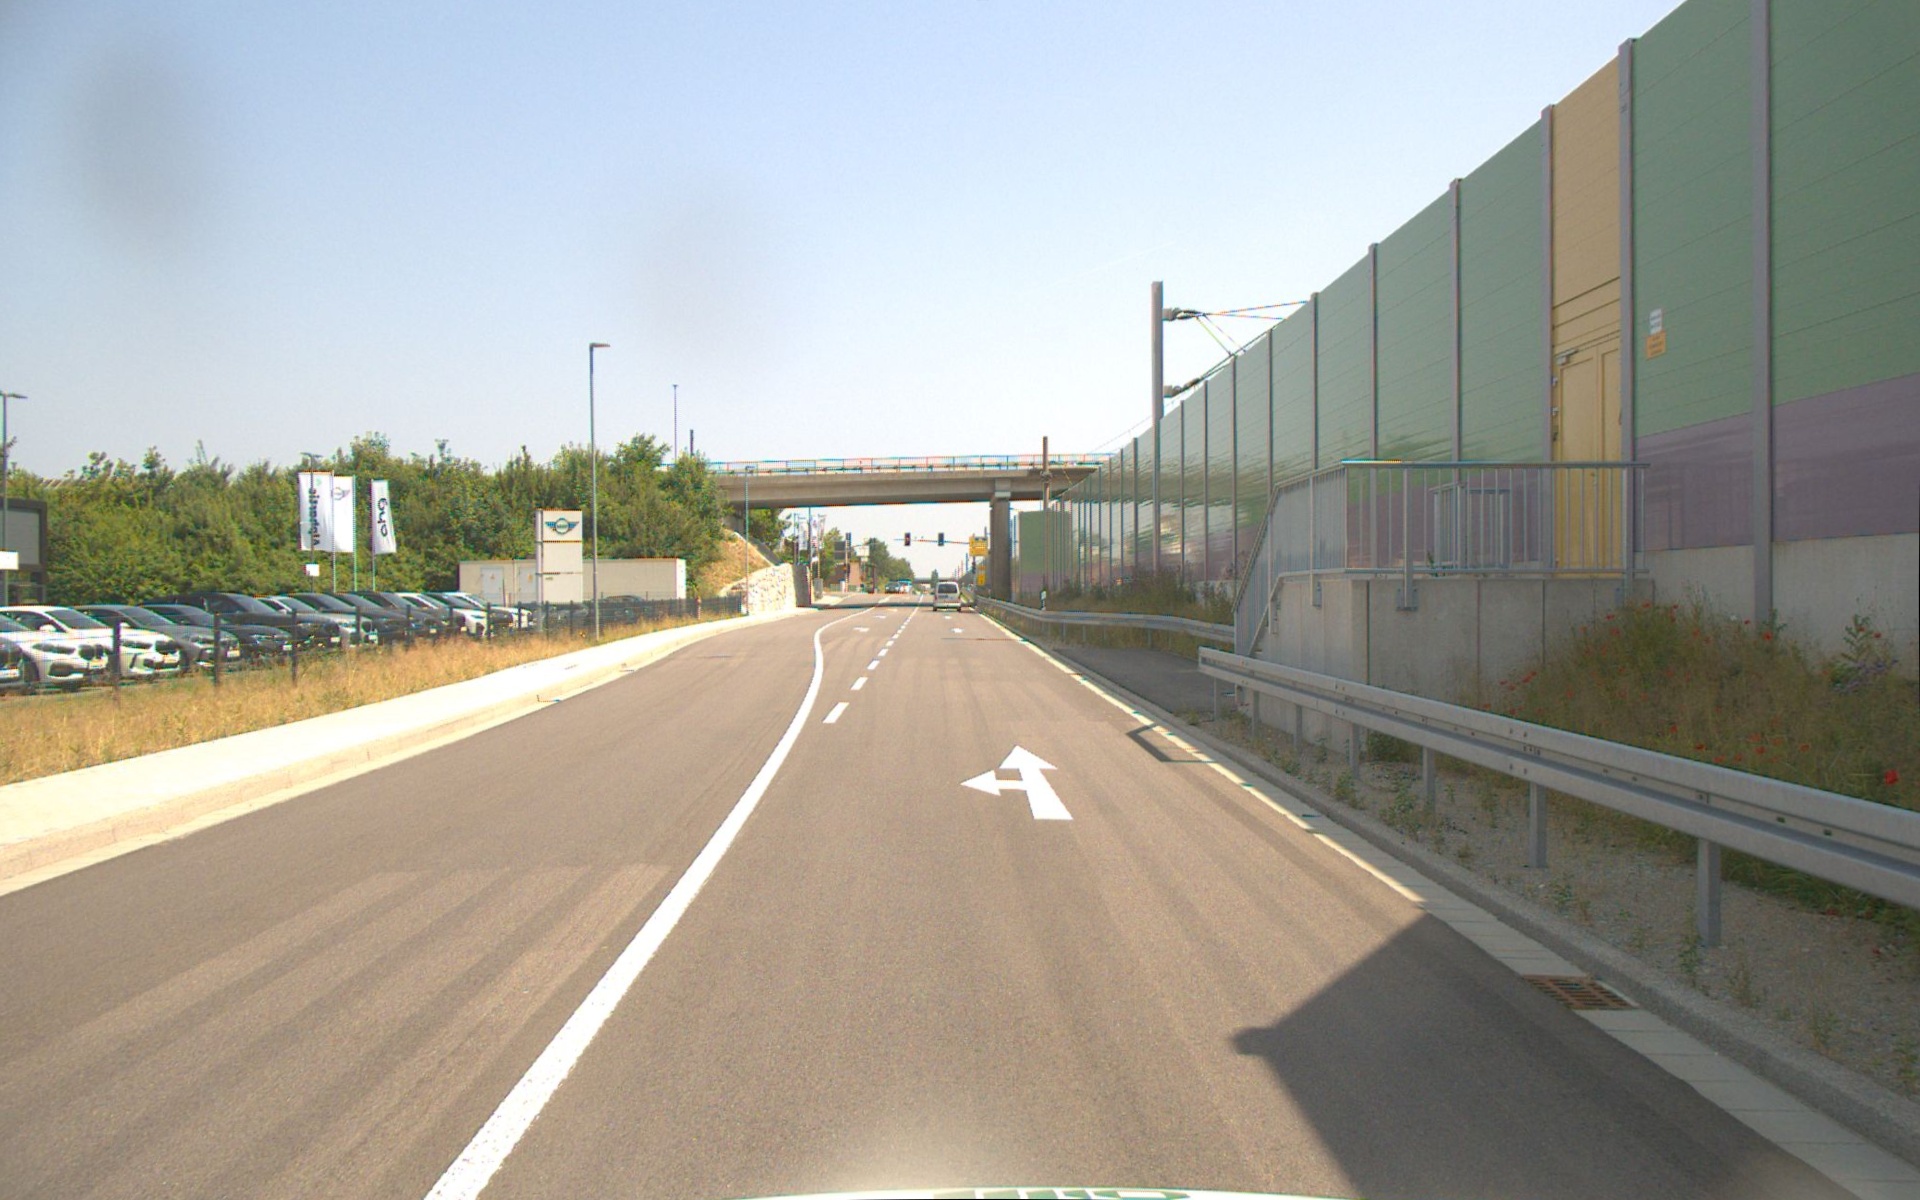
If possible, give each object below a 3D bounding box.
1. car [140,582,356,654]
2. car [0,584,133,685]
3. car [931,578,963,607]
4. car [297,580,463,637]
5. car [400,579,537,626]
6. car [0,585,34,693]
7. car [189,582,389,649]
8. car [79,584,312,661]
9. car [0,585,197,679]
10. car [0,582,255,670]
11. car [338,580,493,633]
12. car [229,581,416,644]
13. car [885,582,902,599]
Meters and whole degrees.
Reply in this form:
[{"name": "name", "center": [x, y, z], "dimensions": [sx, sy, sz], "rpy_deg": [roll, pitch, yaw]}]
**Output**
[{"name": "car", "center": [-16.196, 0.387, 37.762], "dimensions": [4.079, 1.492, 1.815], "rpy_deg": [-1, 1, -1]}, {"name": "car", "center": [-16.163, 0.574, 27.273], "dimensions": [4.079, 1.572, 1.815], "rpy_deg": [-1, 1, -1]}, {"name": "car", "center": [-0.794, -0.498, 103.924], "dimensions": [1.952, 1.788, 4.001], "rpy_deg": [0, 1, 1]}, {"name": "car", "center": [-16.630, 0.226, 47.530], "dimensions": [4.079, 1.492, 1.815], "rpy_deg": [-1, 1, -1]}, {"name": "car", "center": [-16.668, 0.076, 56.213], "dimensions": [4.079, 1.492, 1.815], "rpy_deg": [-1, 1, -1]}, {"name": "car", "center": [-16.162, 0.626, 24.272], "dimensions": [4.079, 1.572, 1.815], "rpy_deg": [-1, 1, -1]}, {"name": "car", "center": [-16.283, 0.367, 40.258], "dimensions": [4.079, 1.492, 1.815], "rpy_deg": [-1, 1, -1]}, {"name": "car", "center": [-16.261, 0.465, 35.311], "dimensions": [4.079, 1.492, 1.815], "rpy_deg": [-1, 1, -1]}, {"name": "car", "center": [-16.238, 0.567, 29.794], "dimensions": [4.079, 1.572, 1.815], "rpy_deg": [-1, 1, -1]}, {"name": "car", "center": [-16.261, 0.493, 32.407], "dimensions": [4.079, 1.572, 1.815], "rpy_deg": [-1, 1, -1]}, {"name": "car", "center": [-16.586, 0.190, 50.496], "dimensions": [4.079, 1.492, 1.815], "rpy_deg": [-1, 1, -1]}, {"name": "car", "center": [-16.357, 0.311, 42.582], "dimensions": [4.079, 1.492, 1.815], "rpy_deg": [-1, 1, -1]}, {"name": "car", "center": [-7.996, -1.103, 198.608], "dimensions": [1.953, 1.960, 3.999], "rpy_deg": [-1, 0, -1]}]
